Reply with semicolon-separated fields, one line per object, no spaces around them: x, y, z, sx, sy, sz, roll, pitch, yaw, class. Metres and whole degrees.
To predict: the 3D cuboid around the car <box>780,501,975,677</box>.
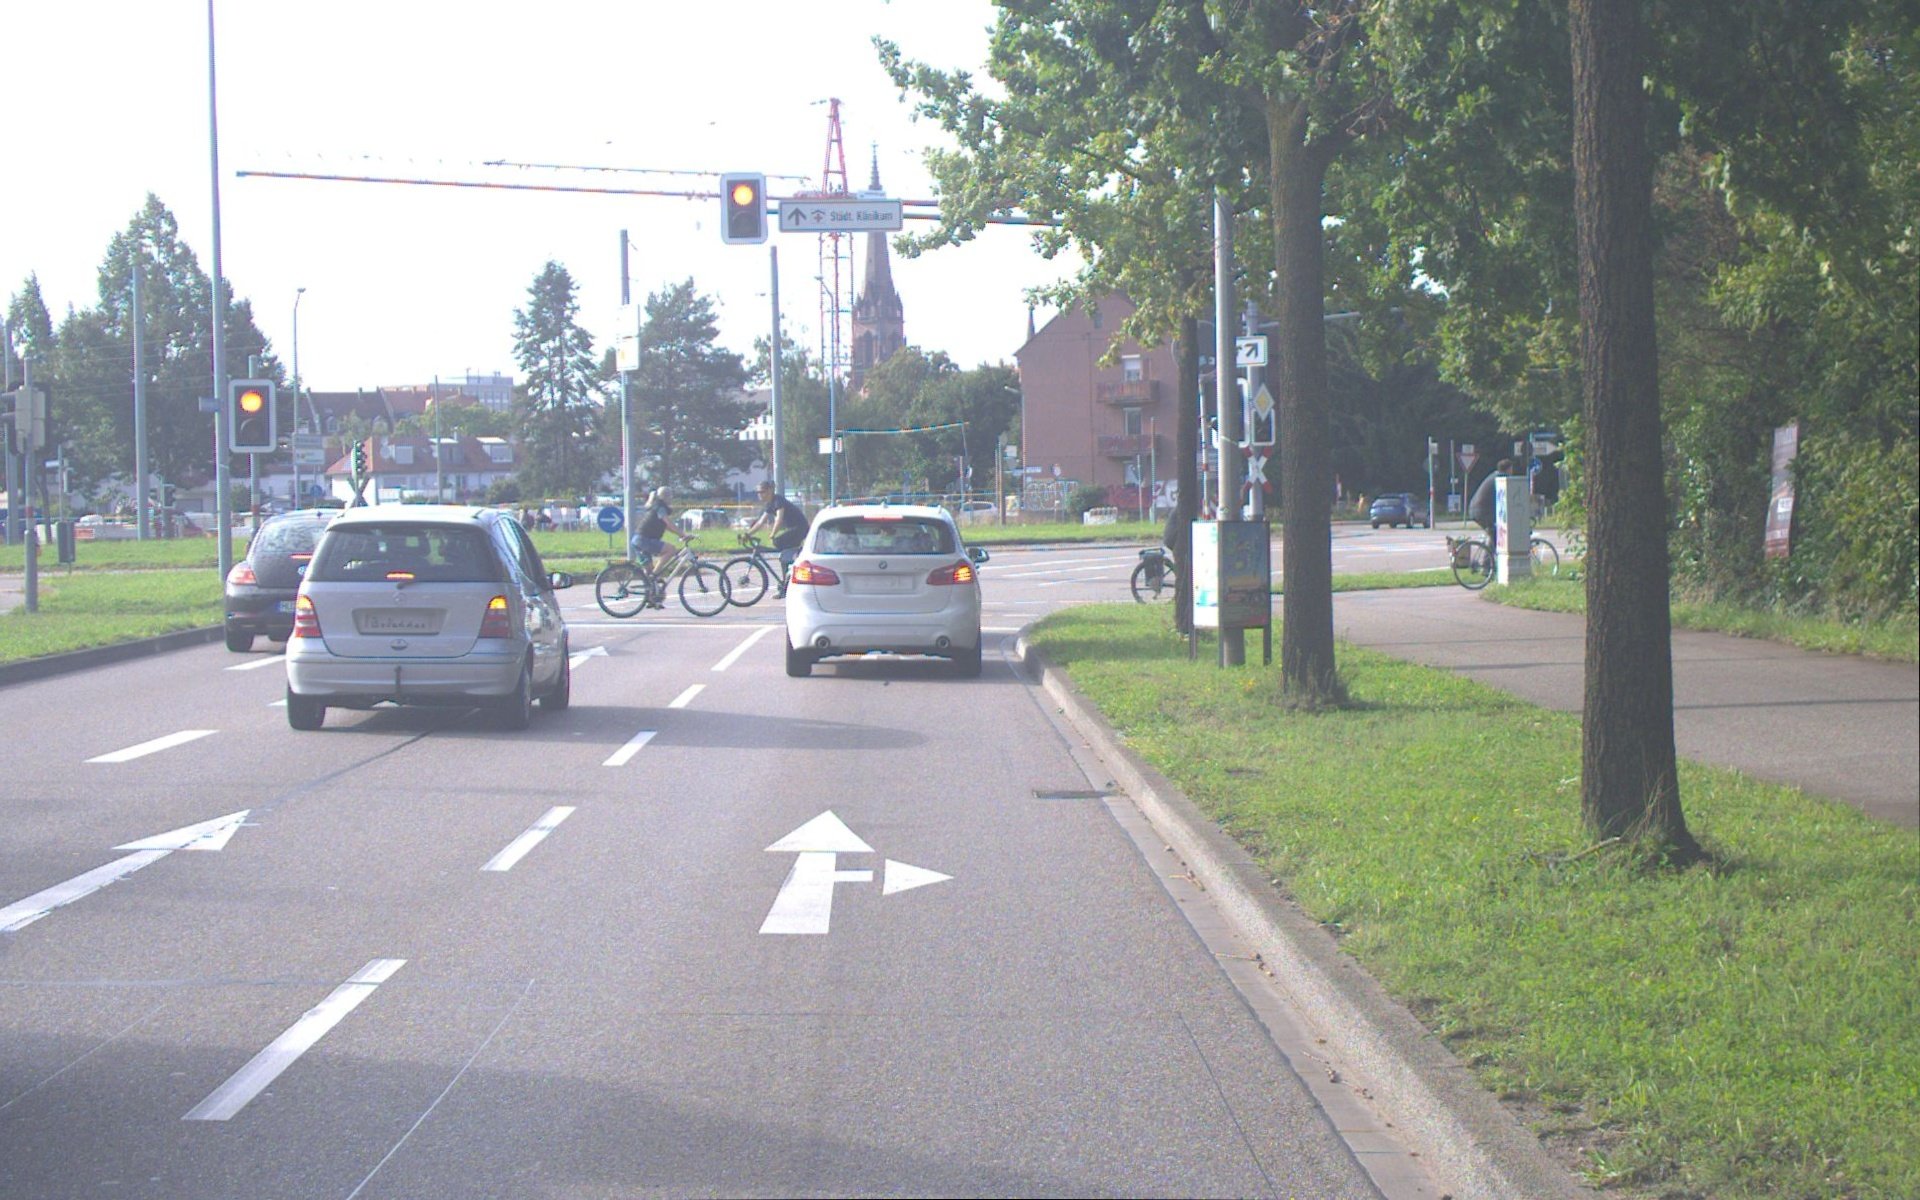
-0.783;-0.153;32.544;1.729;1.553;4.059;0;2;-1;car

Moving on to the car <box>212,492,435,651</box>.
-6.753;-0.350;36.837;1.721;1.559;3.878;1;2;-1;car

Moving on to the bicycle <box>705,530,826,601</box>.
-2.769;-0.495;48.891;1.674;0.963;0.644;-2;1;-6;bicycle

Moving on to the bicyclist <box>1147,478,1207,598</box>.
3.015;-0.865;47.767;0.768;1.642;0.535;-1;3;-1;bicyclist

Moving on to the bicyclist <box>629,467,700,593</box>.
-3.920;-0.926;45.533;0.829;1.642;0.686;-1;1;-13;bicyclist

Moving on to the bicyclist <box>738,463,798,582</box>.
-2.727;-1.106;48.883;0.788;1.662;0.549;-2;1;-5;bicyclist

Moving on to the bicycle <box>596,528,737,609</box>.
-3.895;-0.430;45.546;1.770;1.046;0.711;-1;1;-13;bicycle

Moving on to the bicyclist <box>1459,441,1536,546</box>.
7.719;-1.531;49.408;0.820;1.484;0.763;-2;1;-15;bicyclist

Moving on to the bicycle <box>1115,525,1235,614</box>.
2.983;-0.422;47.784;1.619;1.213;0.491;-1;1;-1;bicycle

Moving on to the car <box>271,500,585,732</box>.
-3.806;0.051;25.212;1.729;1.553;4.058;0;2;-1;car

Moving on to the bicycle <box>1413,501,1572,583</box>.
7.646;-0.843;49.382;2.038;1.116;0.891;-2;1;-15;bicycle
